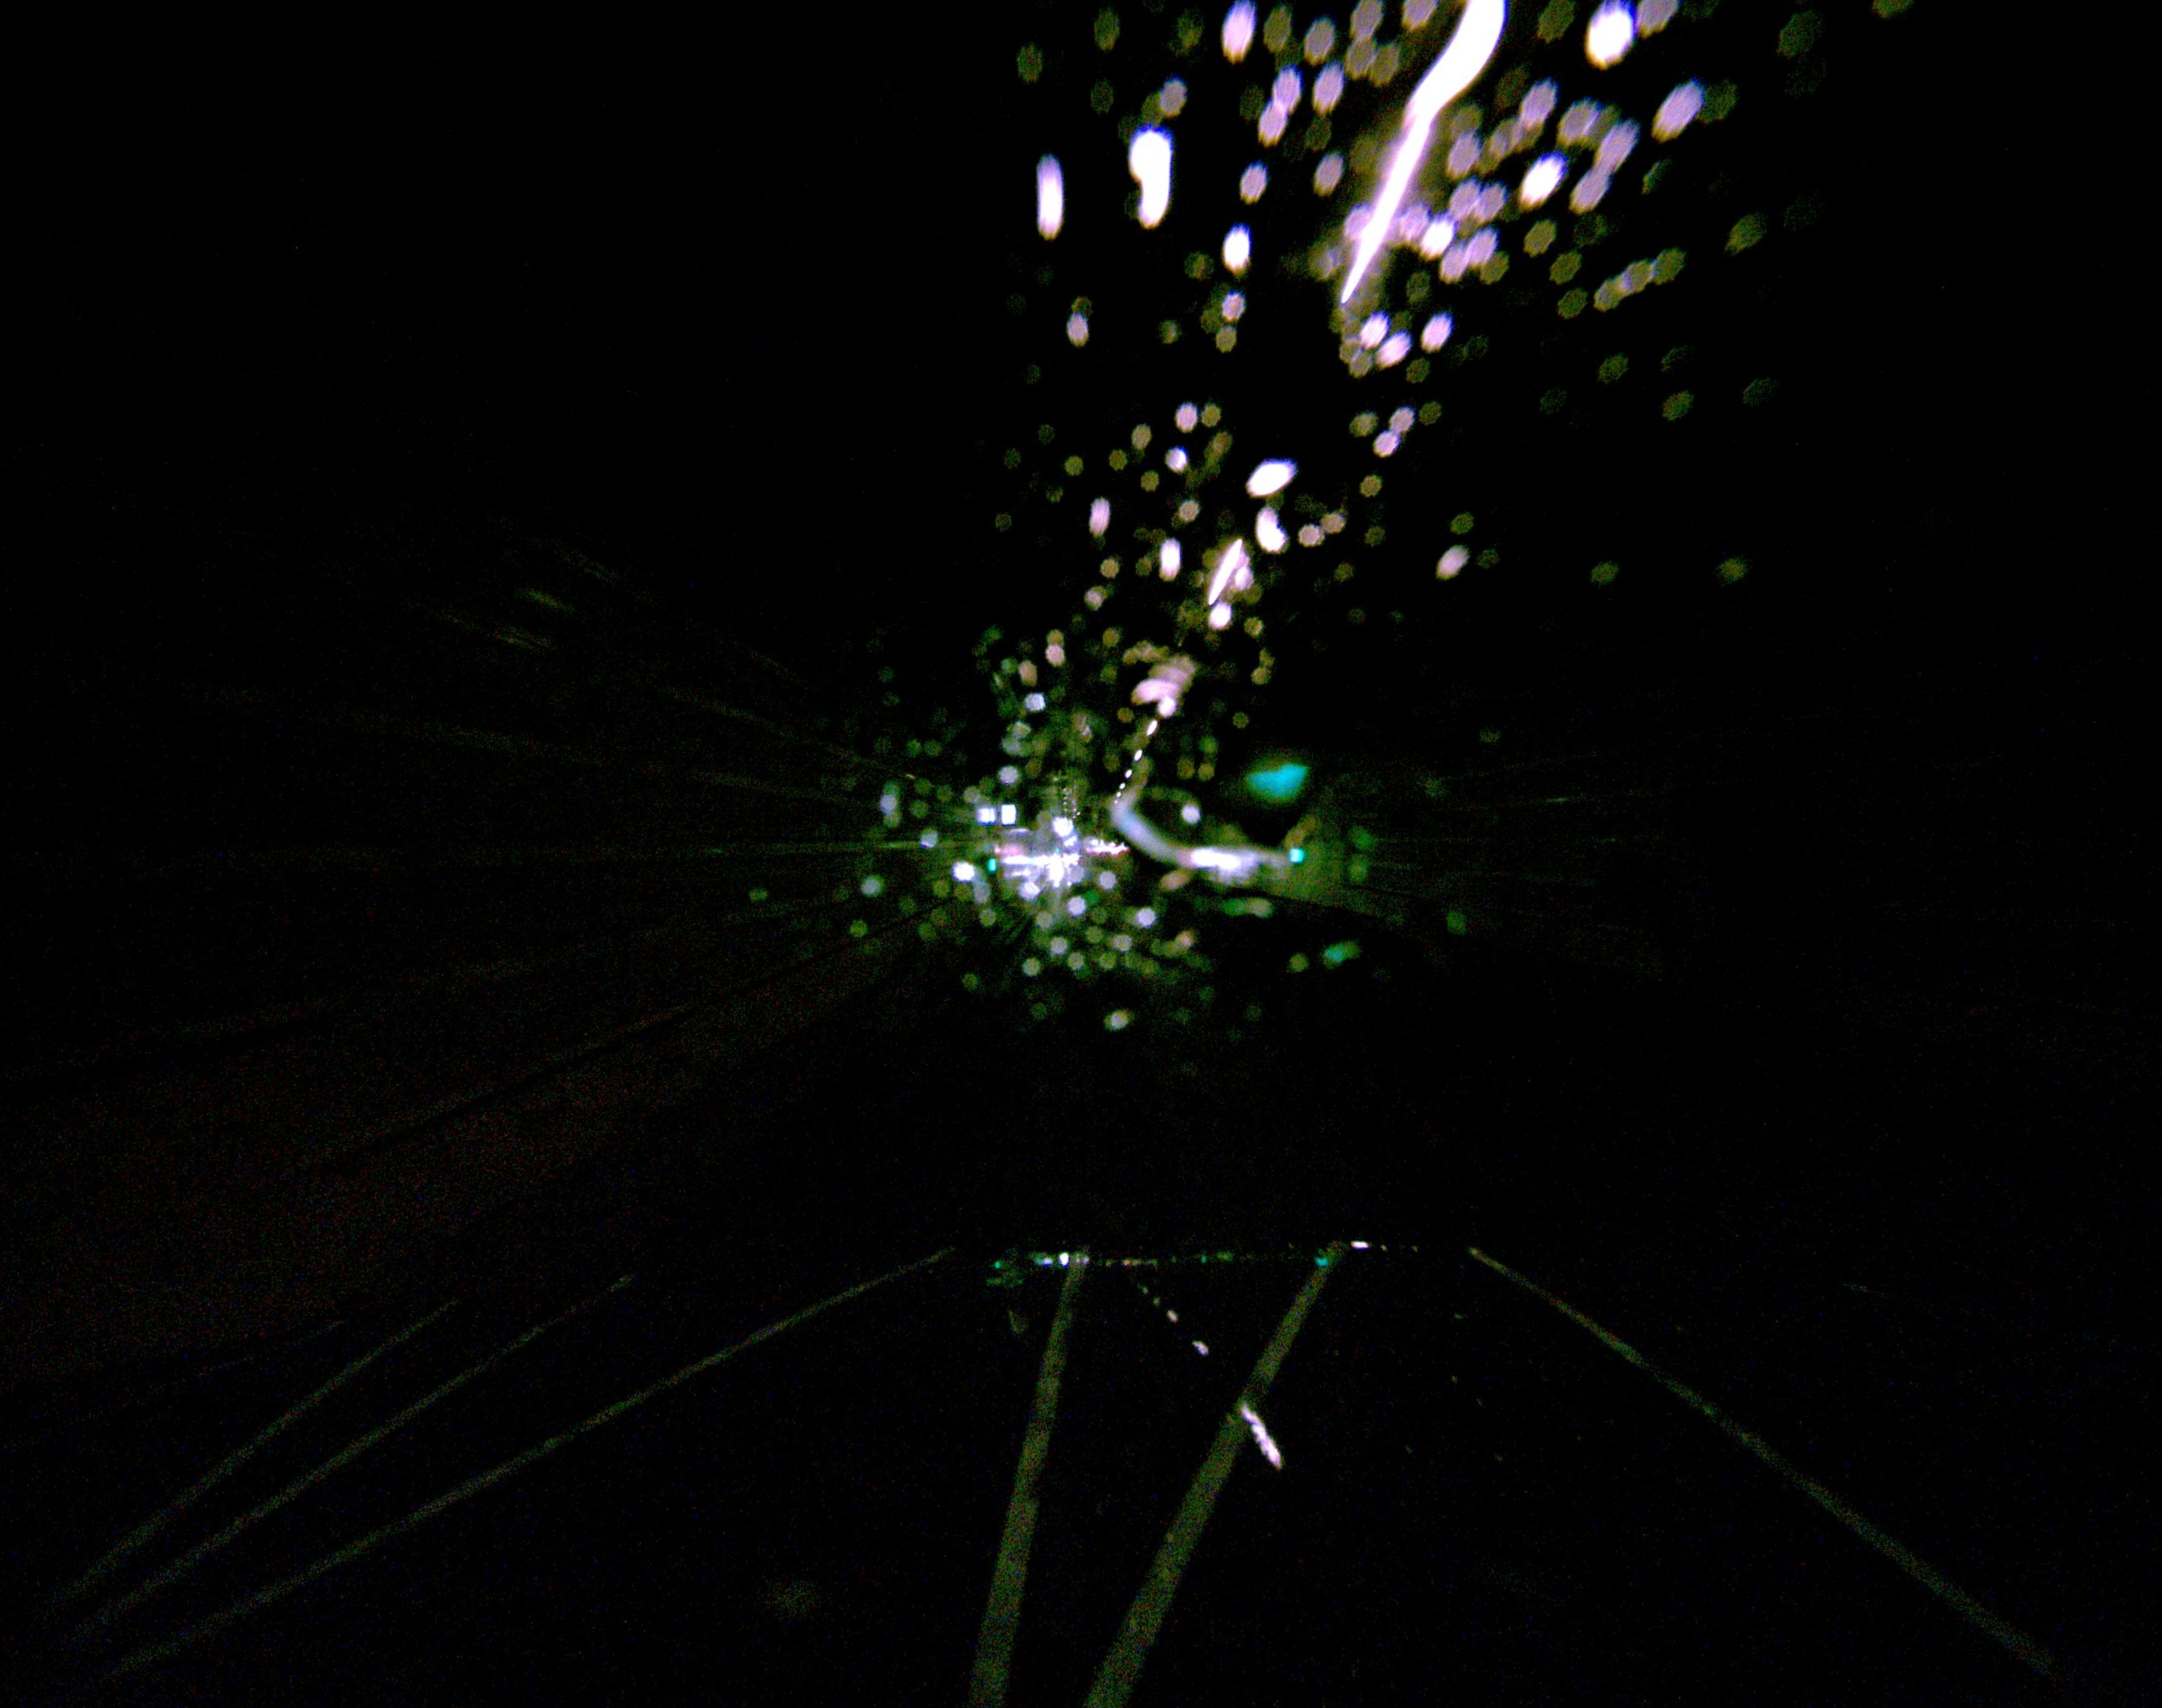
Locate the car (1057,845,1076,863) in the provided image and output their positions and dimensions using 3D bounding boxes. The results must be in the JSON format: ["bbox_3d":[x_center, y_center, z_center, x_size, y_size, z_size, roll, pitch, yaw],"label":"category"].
[{"bbox_3d":[-1.690,0.016,90.572,2.031,2.017,4.424,-3,1,0],"label":"car"}]
